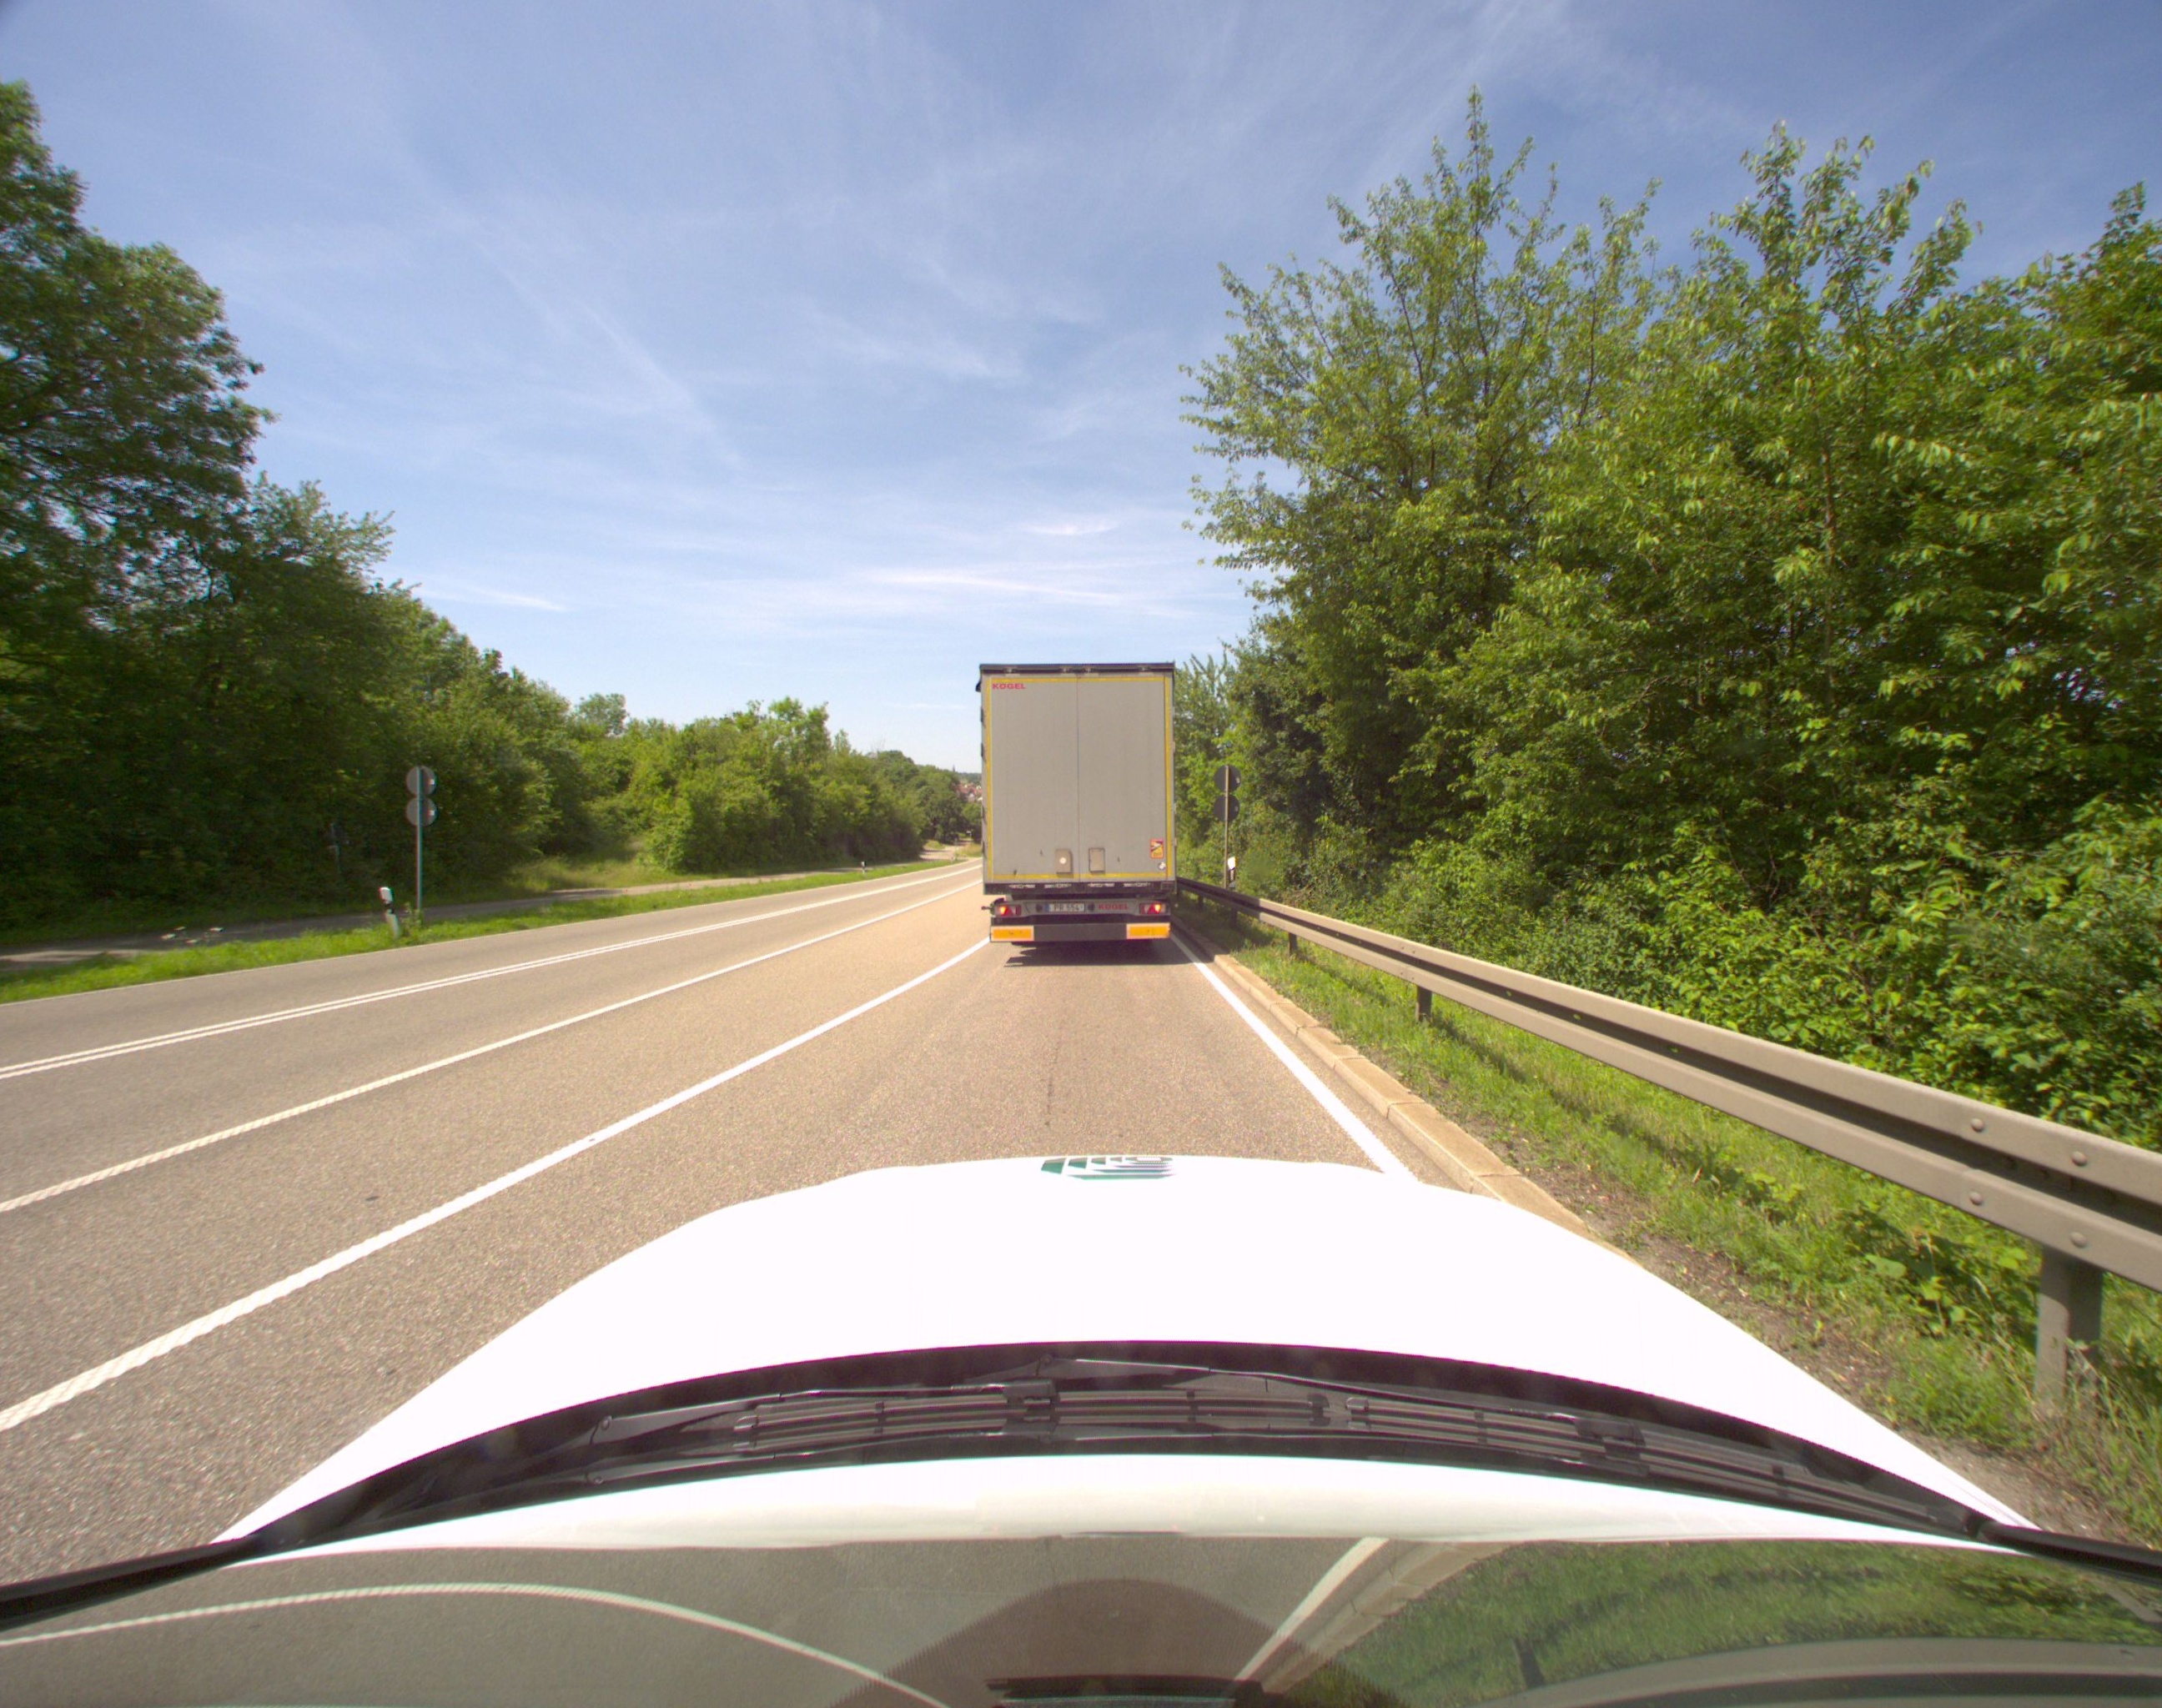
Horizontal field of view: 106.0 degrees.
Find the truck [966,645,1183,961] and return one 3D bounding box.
[{"bbox_3d":[0.018,-0.685,16.439,2.747,4.029,11.925,-1,0,1],"label":"truck"}]
